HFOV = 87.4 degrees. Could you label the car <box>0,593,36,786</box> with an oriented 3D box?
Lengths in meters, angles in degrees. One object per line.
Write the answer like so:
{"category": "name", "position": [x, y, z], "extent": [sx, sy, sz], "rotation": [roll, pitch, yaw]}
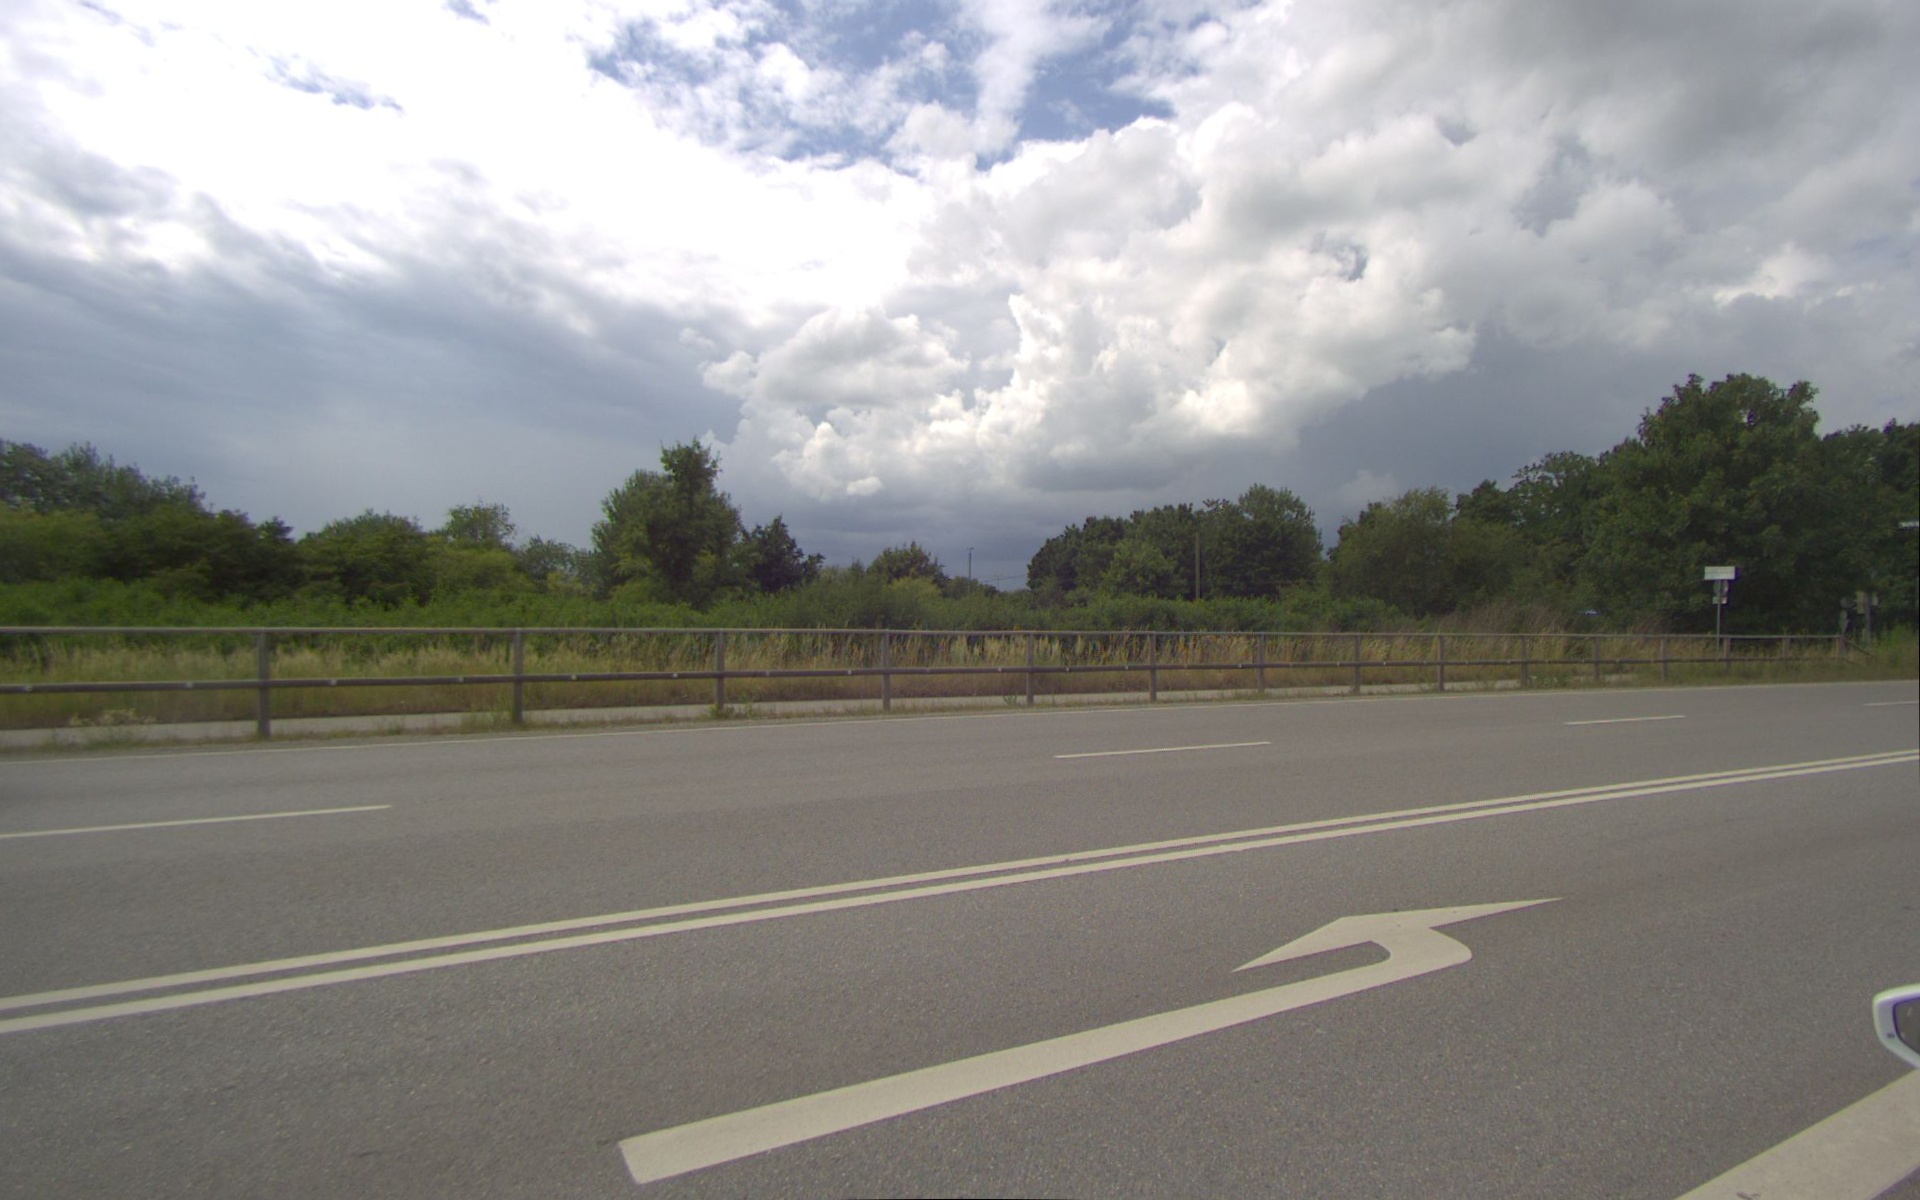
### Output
{"category": "car", "position": [-8.863, 0.631, 6.434], "extent": [3.953, 1.460, 1.937], "rotation": [1, -1, -30]}

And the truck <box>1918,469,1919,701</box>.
{"category": "truck", "position": [19.495, -0.248, 17.746], "extent": [3.947, 4.150, 2.532], "rotation": [1, -1, -26]}
